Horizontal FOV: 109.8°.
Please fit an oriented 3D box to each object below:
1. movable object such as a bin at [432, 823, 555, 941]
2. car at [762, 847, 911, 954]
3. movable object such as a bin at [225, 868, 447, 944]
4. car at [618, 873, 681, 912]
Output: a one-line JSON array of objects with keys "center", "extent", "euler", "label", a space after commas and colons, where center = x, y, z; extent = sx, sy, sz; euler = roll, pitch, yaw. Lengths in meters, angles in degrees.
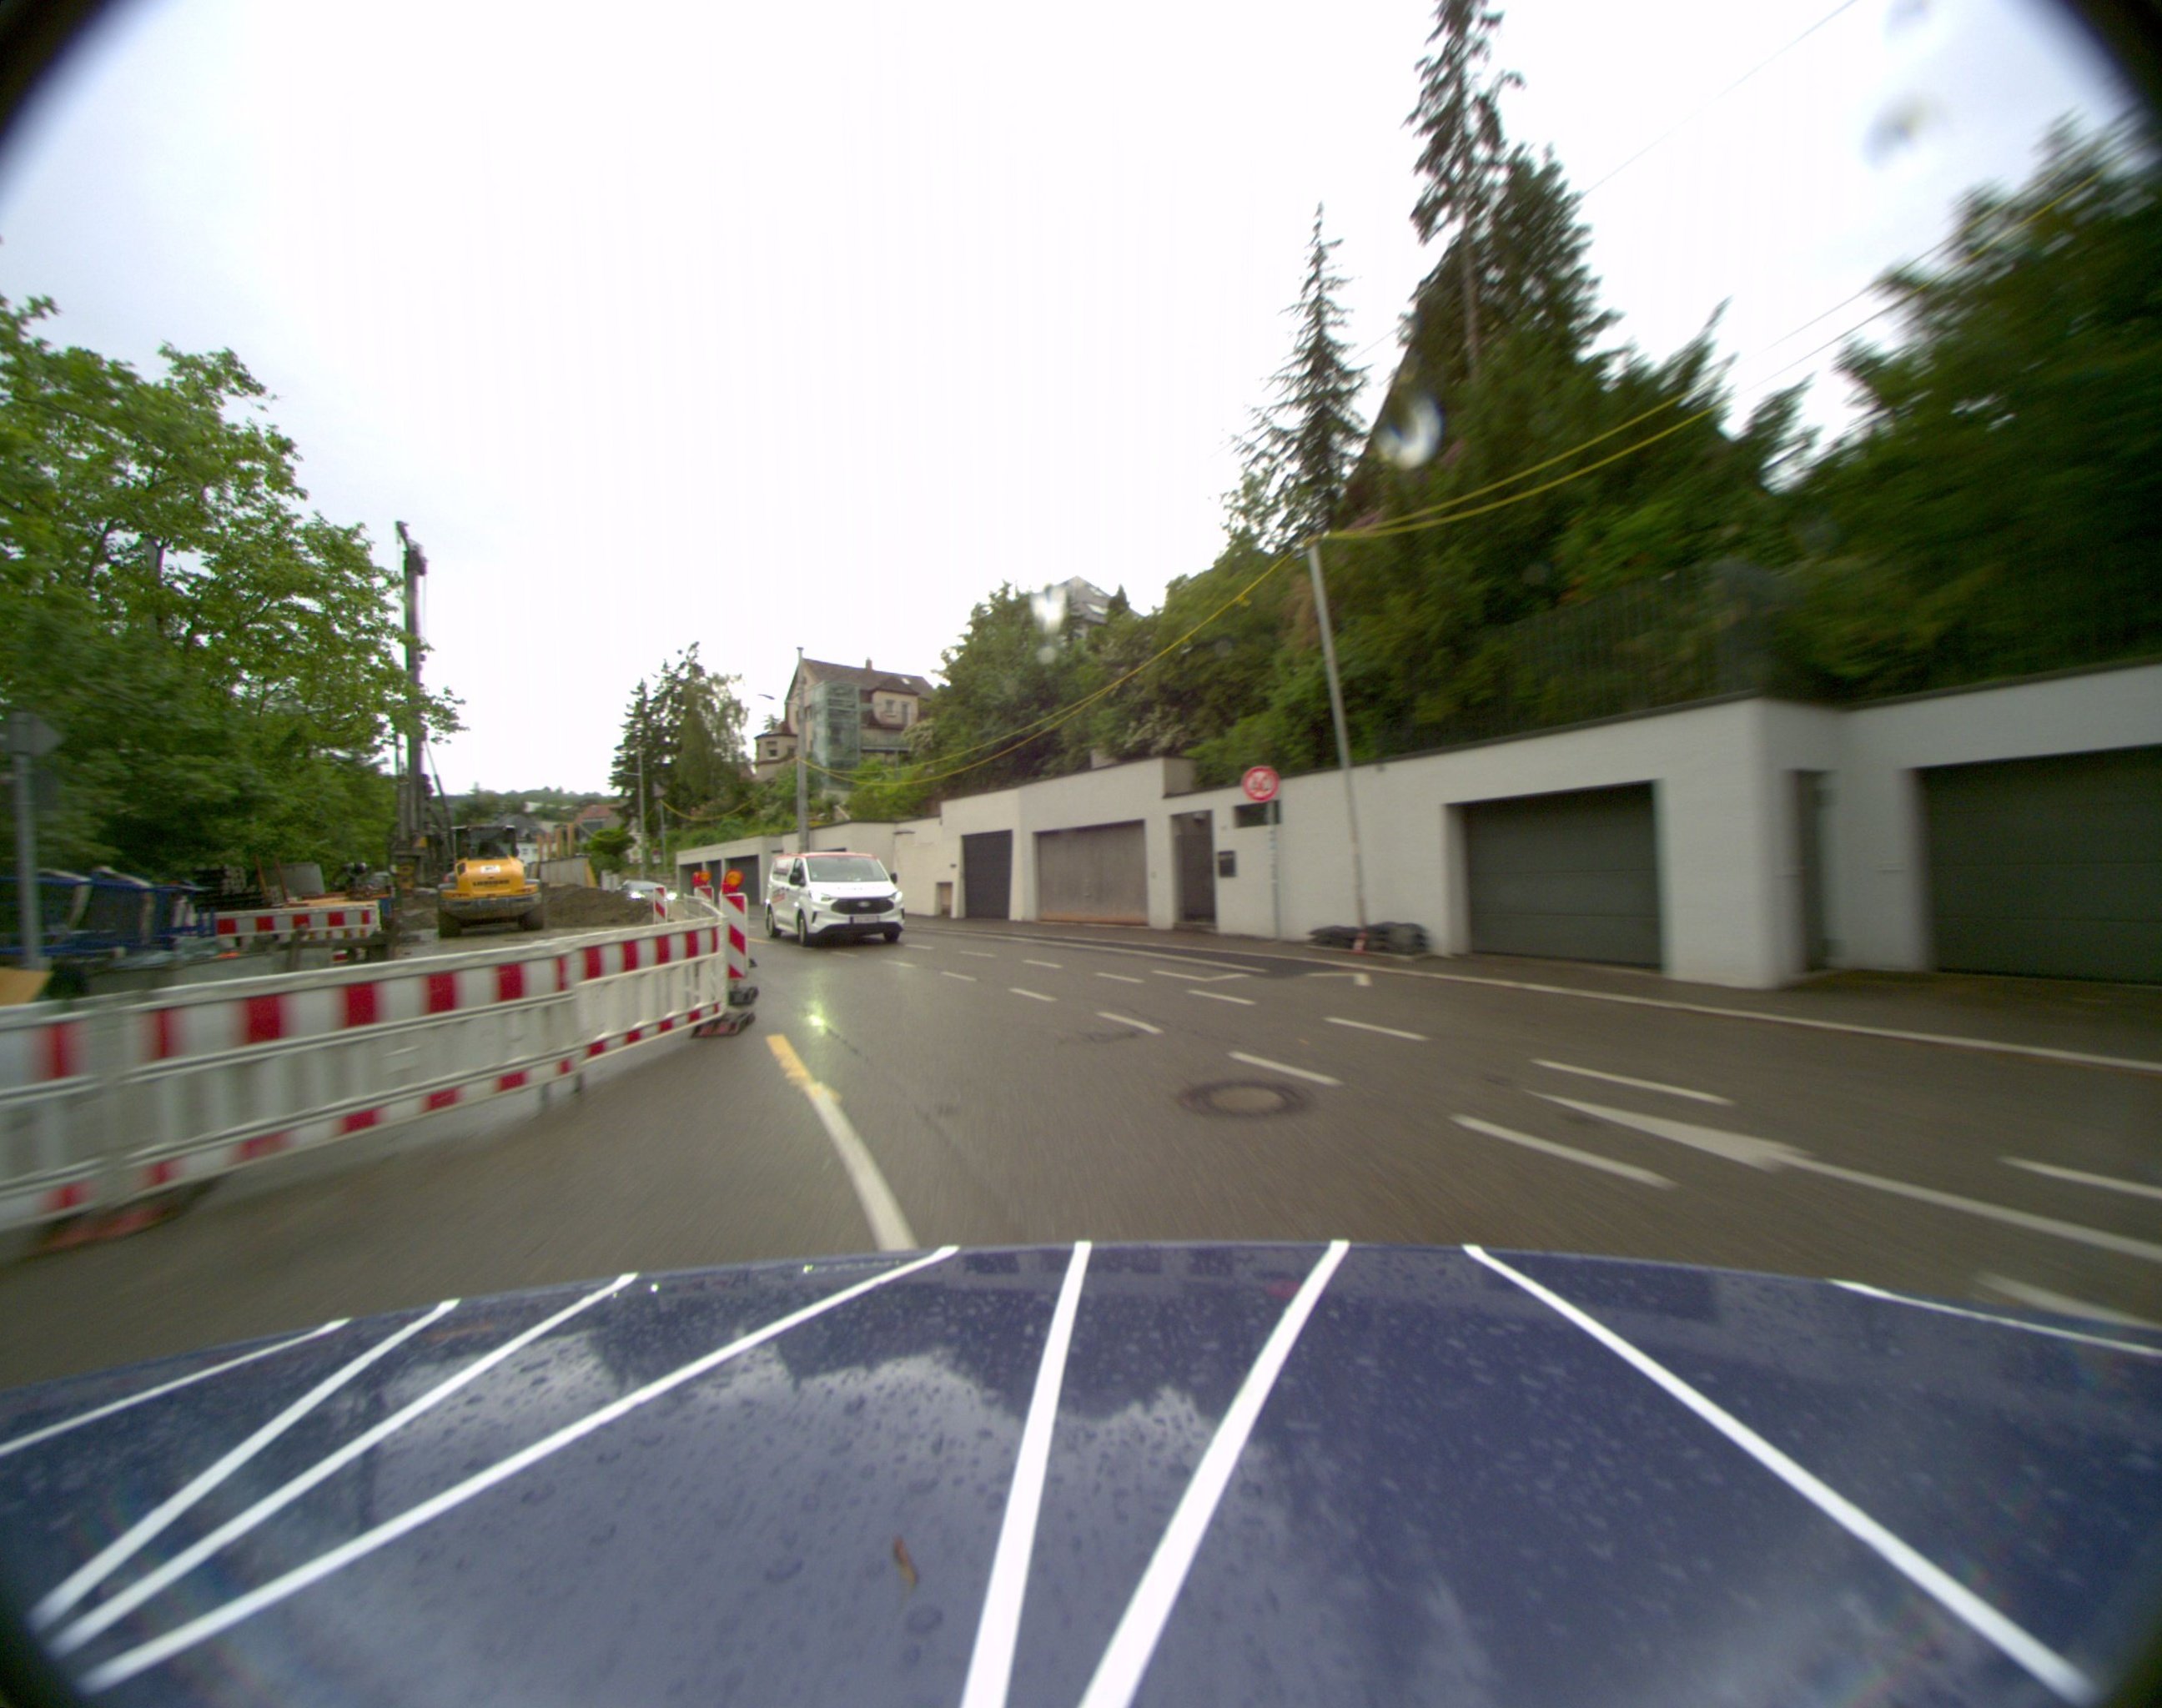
[{"center": [-17.238, 0.730, 22.251], "extent": [2.540, 3.049, 4.845], "euler": [-1, 1, -40], "label": "movable object such as a bin"}, {"center": [-5.580, 0.965, 16.860], "extent": [2.003, 2.001, 4.938], "euler": [-1, -2, -31], "label": "car"}, {"center": [-22.594, 1.483, 23.414], "extent": [4.569, 1.990, 2.528], "euler": [-1, 0, -38], "label": "movable object such as a bin"}, {"center": [-20.145, 1.769, 35.400], "extent": [2.003, 1.575, 3.990], "euler": [-3, 0, -37], "label": "car"}]
